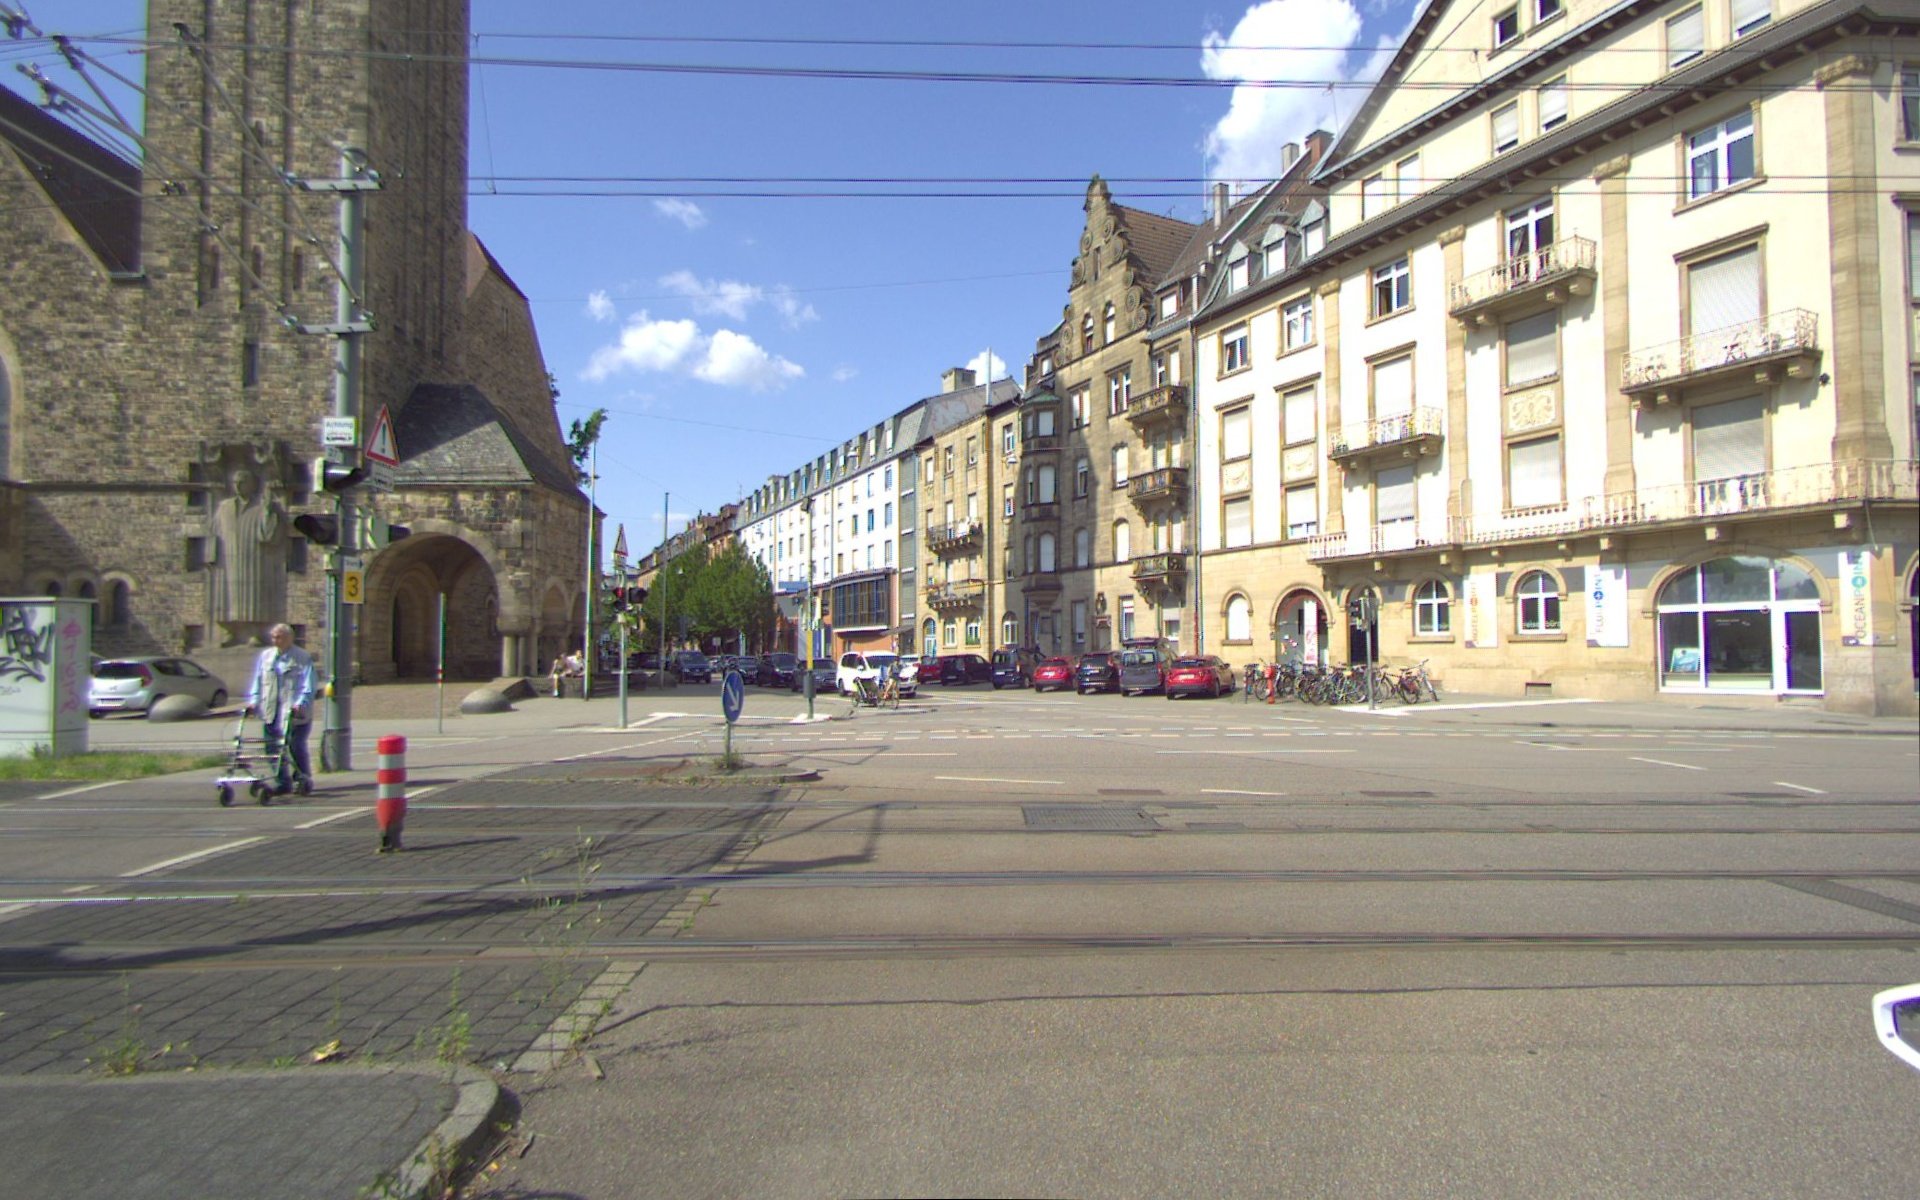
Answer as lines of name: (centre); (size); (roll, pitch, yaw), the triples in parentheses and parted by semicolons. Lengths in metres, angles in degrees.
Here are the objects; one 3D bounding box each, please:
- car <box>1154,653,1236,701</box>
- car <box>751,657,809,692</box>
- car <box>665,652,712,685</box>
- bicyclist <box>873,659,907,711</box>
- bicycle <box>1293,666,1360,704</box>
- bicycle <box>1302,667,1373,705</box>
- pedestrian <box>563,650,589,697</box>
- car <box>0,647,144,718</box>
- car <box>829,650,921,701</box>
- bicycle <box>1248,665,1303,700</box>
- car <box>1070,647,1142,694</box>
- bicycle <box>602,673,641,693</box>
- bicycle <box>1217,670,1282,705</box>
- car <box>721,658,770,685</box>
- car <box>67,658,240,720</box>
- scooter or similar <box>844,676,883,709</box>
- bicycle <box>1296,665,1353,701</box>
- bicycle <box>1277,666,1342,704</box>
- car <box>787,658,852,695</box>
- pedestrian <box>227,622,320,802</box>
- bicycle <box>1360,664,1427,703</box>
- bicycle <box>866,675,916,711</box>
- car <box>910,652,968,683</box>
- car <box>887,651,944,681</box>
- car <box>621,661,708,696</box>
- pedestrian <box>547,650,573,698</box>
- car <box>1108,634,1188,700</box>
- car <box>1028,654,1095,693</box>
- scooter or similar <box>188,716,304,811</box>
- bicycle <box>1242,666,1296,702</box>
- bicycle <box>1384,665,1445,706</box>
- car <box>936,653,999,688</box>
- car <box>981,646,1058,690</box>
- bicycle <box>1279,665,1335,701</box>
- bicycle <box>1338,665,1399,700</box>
car: (8.395, 2.699, 35.653); (1.932, 1.460, 3.996); (-3, -2, 26)
car: (-8.918, 3.626, 49.538); (1.682, 1.617, 4.044); (1, -3, -27)
car: (-15.264, 3.782, 56.315); (1.791, 1.686, 4.046); (0, -2, -26)
bicyclist: (-2.153, 2.614, 30.928); (0.645, 1.523, 0.915); (-2, -1, -31)
bicycle: (11.167, 2.585, 30.608); (1.895, 1.032, 0.539); (-2, -2, -14)
bicycle: (11.201, 2.539, 29.824); (1.840, 1.032, 0.602); (-2, -2, -1)
pedestrian: (-12.284, 2.350, 32.155); (0.510, 1.426, 0.556); (5, 3, 41)
car: (-25.198, 2.247, 27.955); (1.828, 1.847, 4.014); (0, -3, -4)
car: (-3.250, 2.783, 37.590); (1.792, 1.762, 4.632); (1, -3, -27)
bicycle: (10.556, 2.739, 33.632); (1.904, 1.032, 0.536); (-2, -2, -28)
car: (6.003, 2.826, 40.900); (1.679, 1.690, 3.996); (-3, -2, 26)
bicycle: (-12.958, 3.182, 38.441); (1.340, 0.750, 0.339); (0, -3, -4)
bicycle: (9.041, 2.732, 31.398); (0.536, 1.032, 1.905); (-1, -2, -43)
car: (-11.724, 3.861, 54.719); (1.682, 1.408, 3.835); (1, -3, -28)
car: (-21.915, 2.366, 27.510); (1.763, 1.567, 3.779); (0, -3, -3)
scooter or similar: (-3.113, 2.967, 32.331); (0.880, 0.989, 1.122); (2, -3, -31)
bicycle: (11.663, 2.638, 32.156); (1.904, 1.032, 0.536); (-2, -2, -28)
bicycle: (10.820, 2.623, 31.095); (1.895, 1.032, 0.539); (-2, -2, -14)
car: (-6.060, 3.230, 42.998); (1.654, 1.469, 3.710); (1, -3, -28)
pedestrian: (-6.903, 1.109, 10.129); (0.547, 1.755, 0.528); (0, -3, -7)
bicycle: (12.797, 2.457, 29.651); (1.847, 1.032, 0.607); (-2, -2, -19)
bicycle: (-2.147, 2.842, 30.920); (0.645, 1.002, 2.117); (2, -4, -31)
car: (-1.132, 3.670, 54.961); (1.576, 1.475, 3.772); (-3, -2, 26)
car: (-2.515, 3.759, 57.465); (1.576, 1.520, 3.772); (-3, -2, 26)
car: (-14.713, 3.875, 49.947); (3.901, 1.673, 2.029); (-2, -3, 30)
pedestrian: (-12.645, 2.338, 31.718); (0.510, 1.426, 0.556); (5, 3, 41)
car: (7.263, 2.532, 38.576); (1.932, 2.110, 3.995); (-3, 1, 26)
car: (4.485, 3.192, 44.078); (1.880, 1.463, 3.999); (-3, -2, 21)
scooter or similar: (-6.856, 1.553, 9.683); (0.543, 0.814, 0.840); (0, -3, -6)
bicycle: (10.056, 2.709, 32.669); (1.907, 1.032, 0.536); (-1, -2, -32)
bicycle: (13.083, 2.446, 28.919); (1.855, 1.032, 0.605); (-1, -2, -31)
car: (0.435, 3.642, 52.269); (1.679, 1.566, 3.996); (-3, -2, 26)
car: (2.861, 3.176, 47.187); (1.884, 1.849, 3.990); (-3, -2, 32)
bicycle: (11.332, 2.682, 32.756); (1.904, 1.032, 0.536); (-2, -2, -28)
bicycle: (12.687, 2.547, 31.262); (0.532, 1.032, 1.918); (-2, -2, -23)
